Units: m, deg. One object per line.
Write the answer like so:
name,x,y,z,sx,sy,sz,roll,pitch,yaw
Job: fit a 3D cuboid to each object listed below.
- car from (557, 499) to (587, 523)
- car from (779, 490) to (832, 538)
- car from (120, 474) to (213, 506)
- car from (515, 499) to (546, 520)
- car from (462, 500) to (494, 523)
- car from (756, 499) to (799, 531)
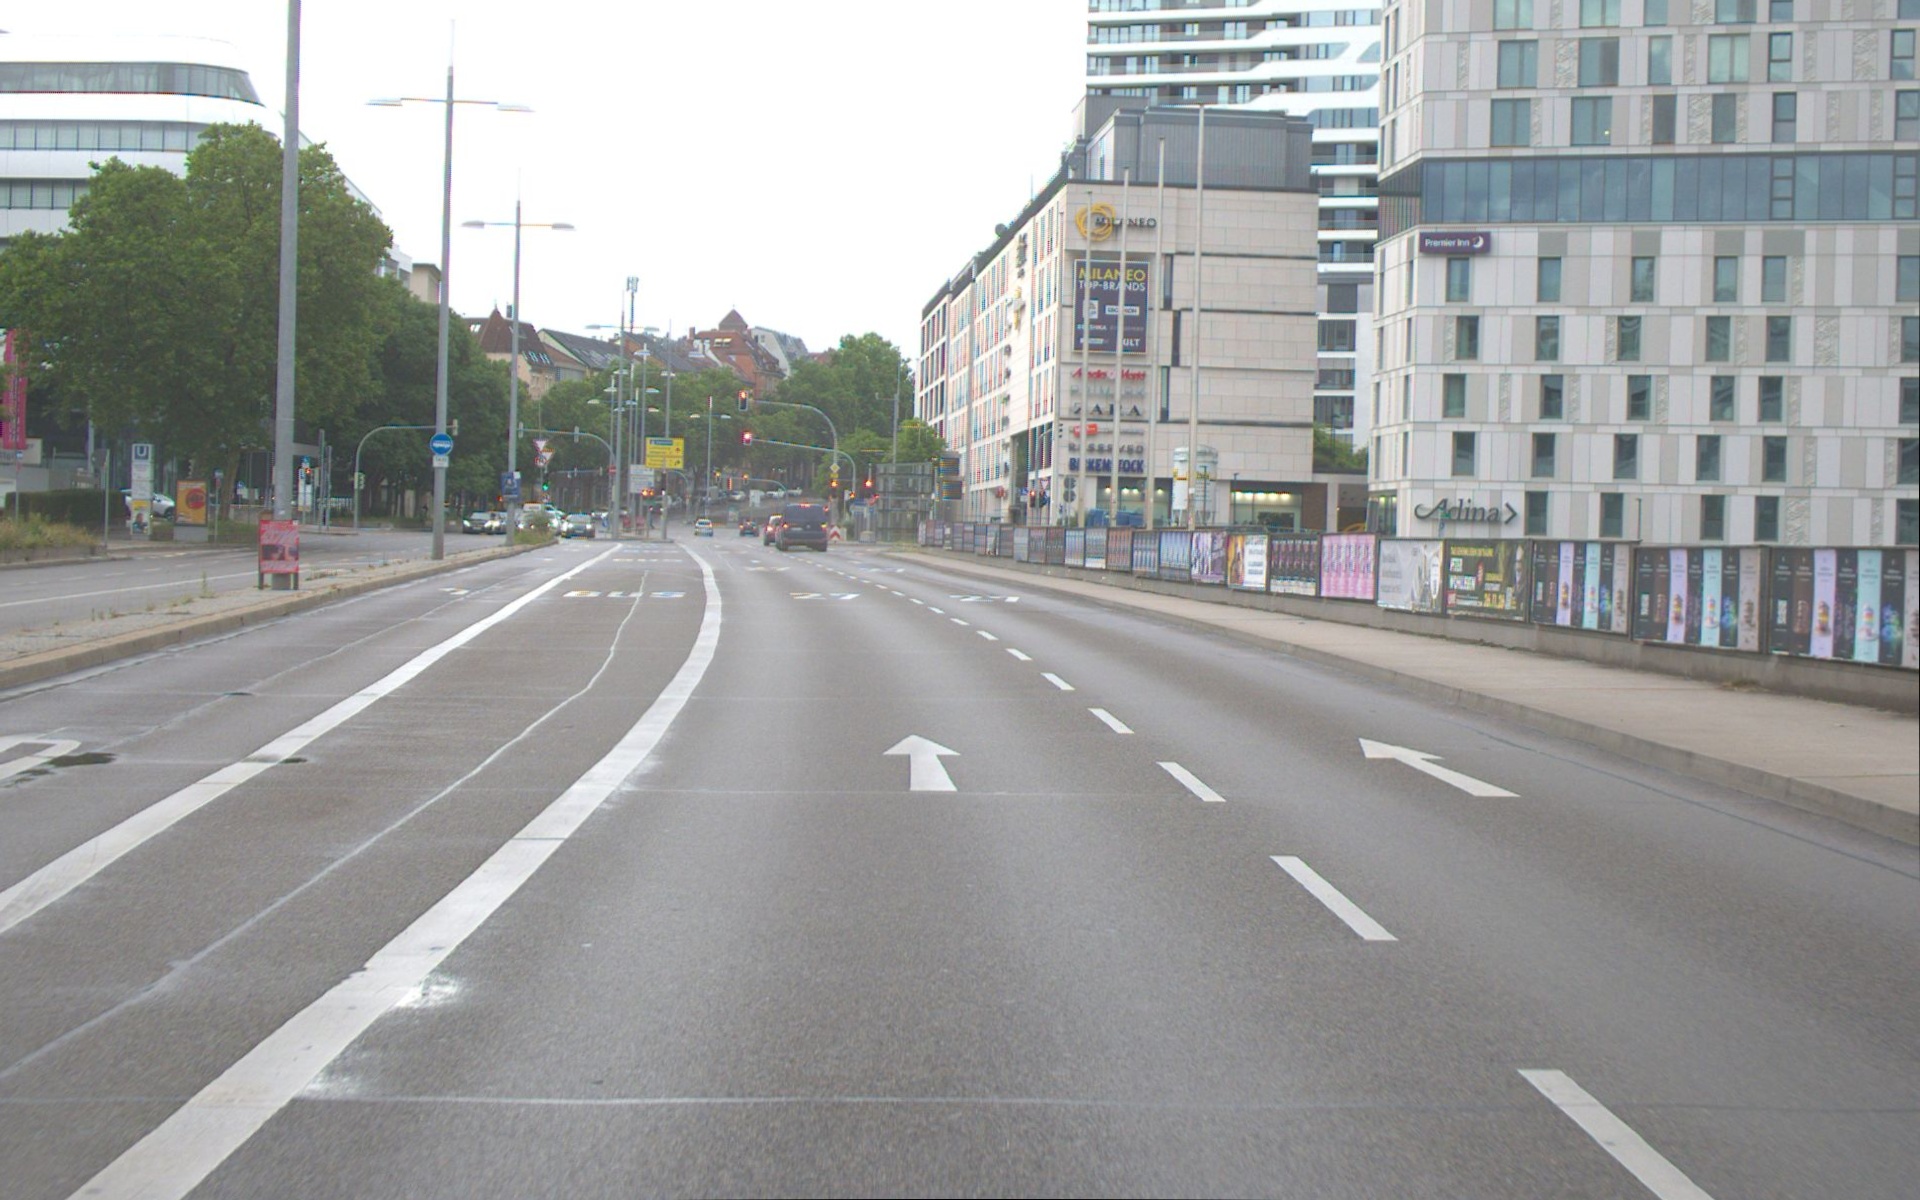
car,-24.163,-5.530,214.100,1.743,1.439,3.395,1,1,-5
car,-6.514,-3.629,144.283,2.032,1.875,5.043,-2,2,-4
car,-42.685,-5.910,185.026,4.504,1.625,1.894,1,1,12
car,-26.831,-5.659,214.661,1.743,1.253,3.540,1,2,-5
car,-30.007,-5.502,214.080,1.743,1.324,4.226,1,1,-5
car,-8.989,-4.159,168.907,1.739,1.526,3.815,1,1,-8
